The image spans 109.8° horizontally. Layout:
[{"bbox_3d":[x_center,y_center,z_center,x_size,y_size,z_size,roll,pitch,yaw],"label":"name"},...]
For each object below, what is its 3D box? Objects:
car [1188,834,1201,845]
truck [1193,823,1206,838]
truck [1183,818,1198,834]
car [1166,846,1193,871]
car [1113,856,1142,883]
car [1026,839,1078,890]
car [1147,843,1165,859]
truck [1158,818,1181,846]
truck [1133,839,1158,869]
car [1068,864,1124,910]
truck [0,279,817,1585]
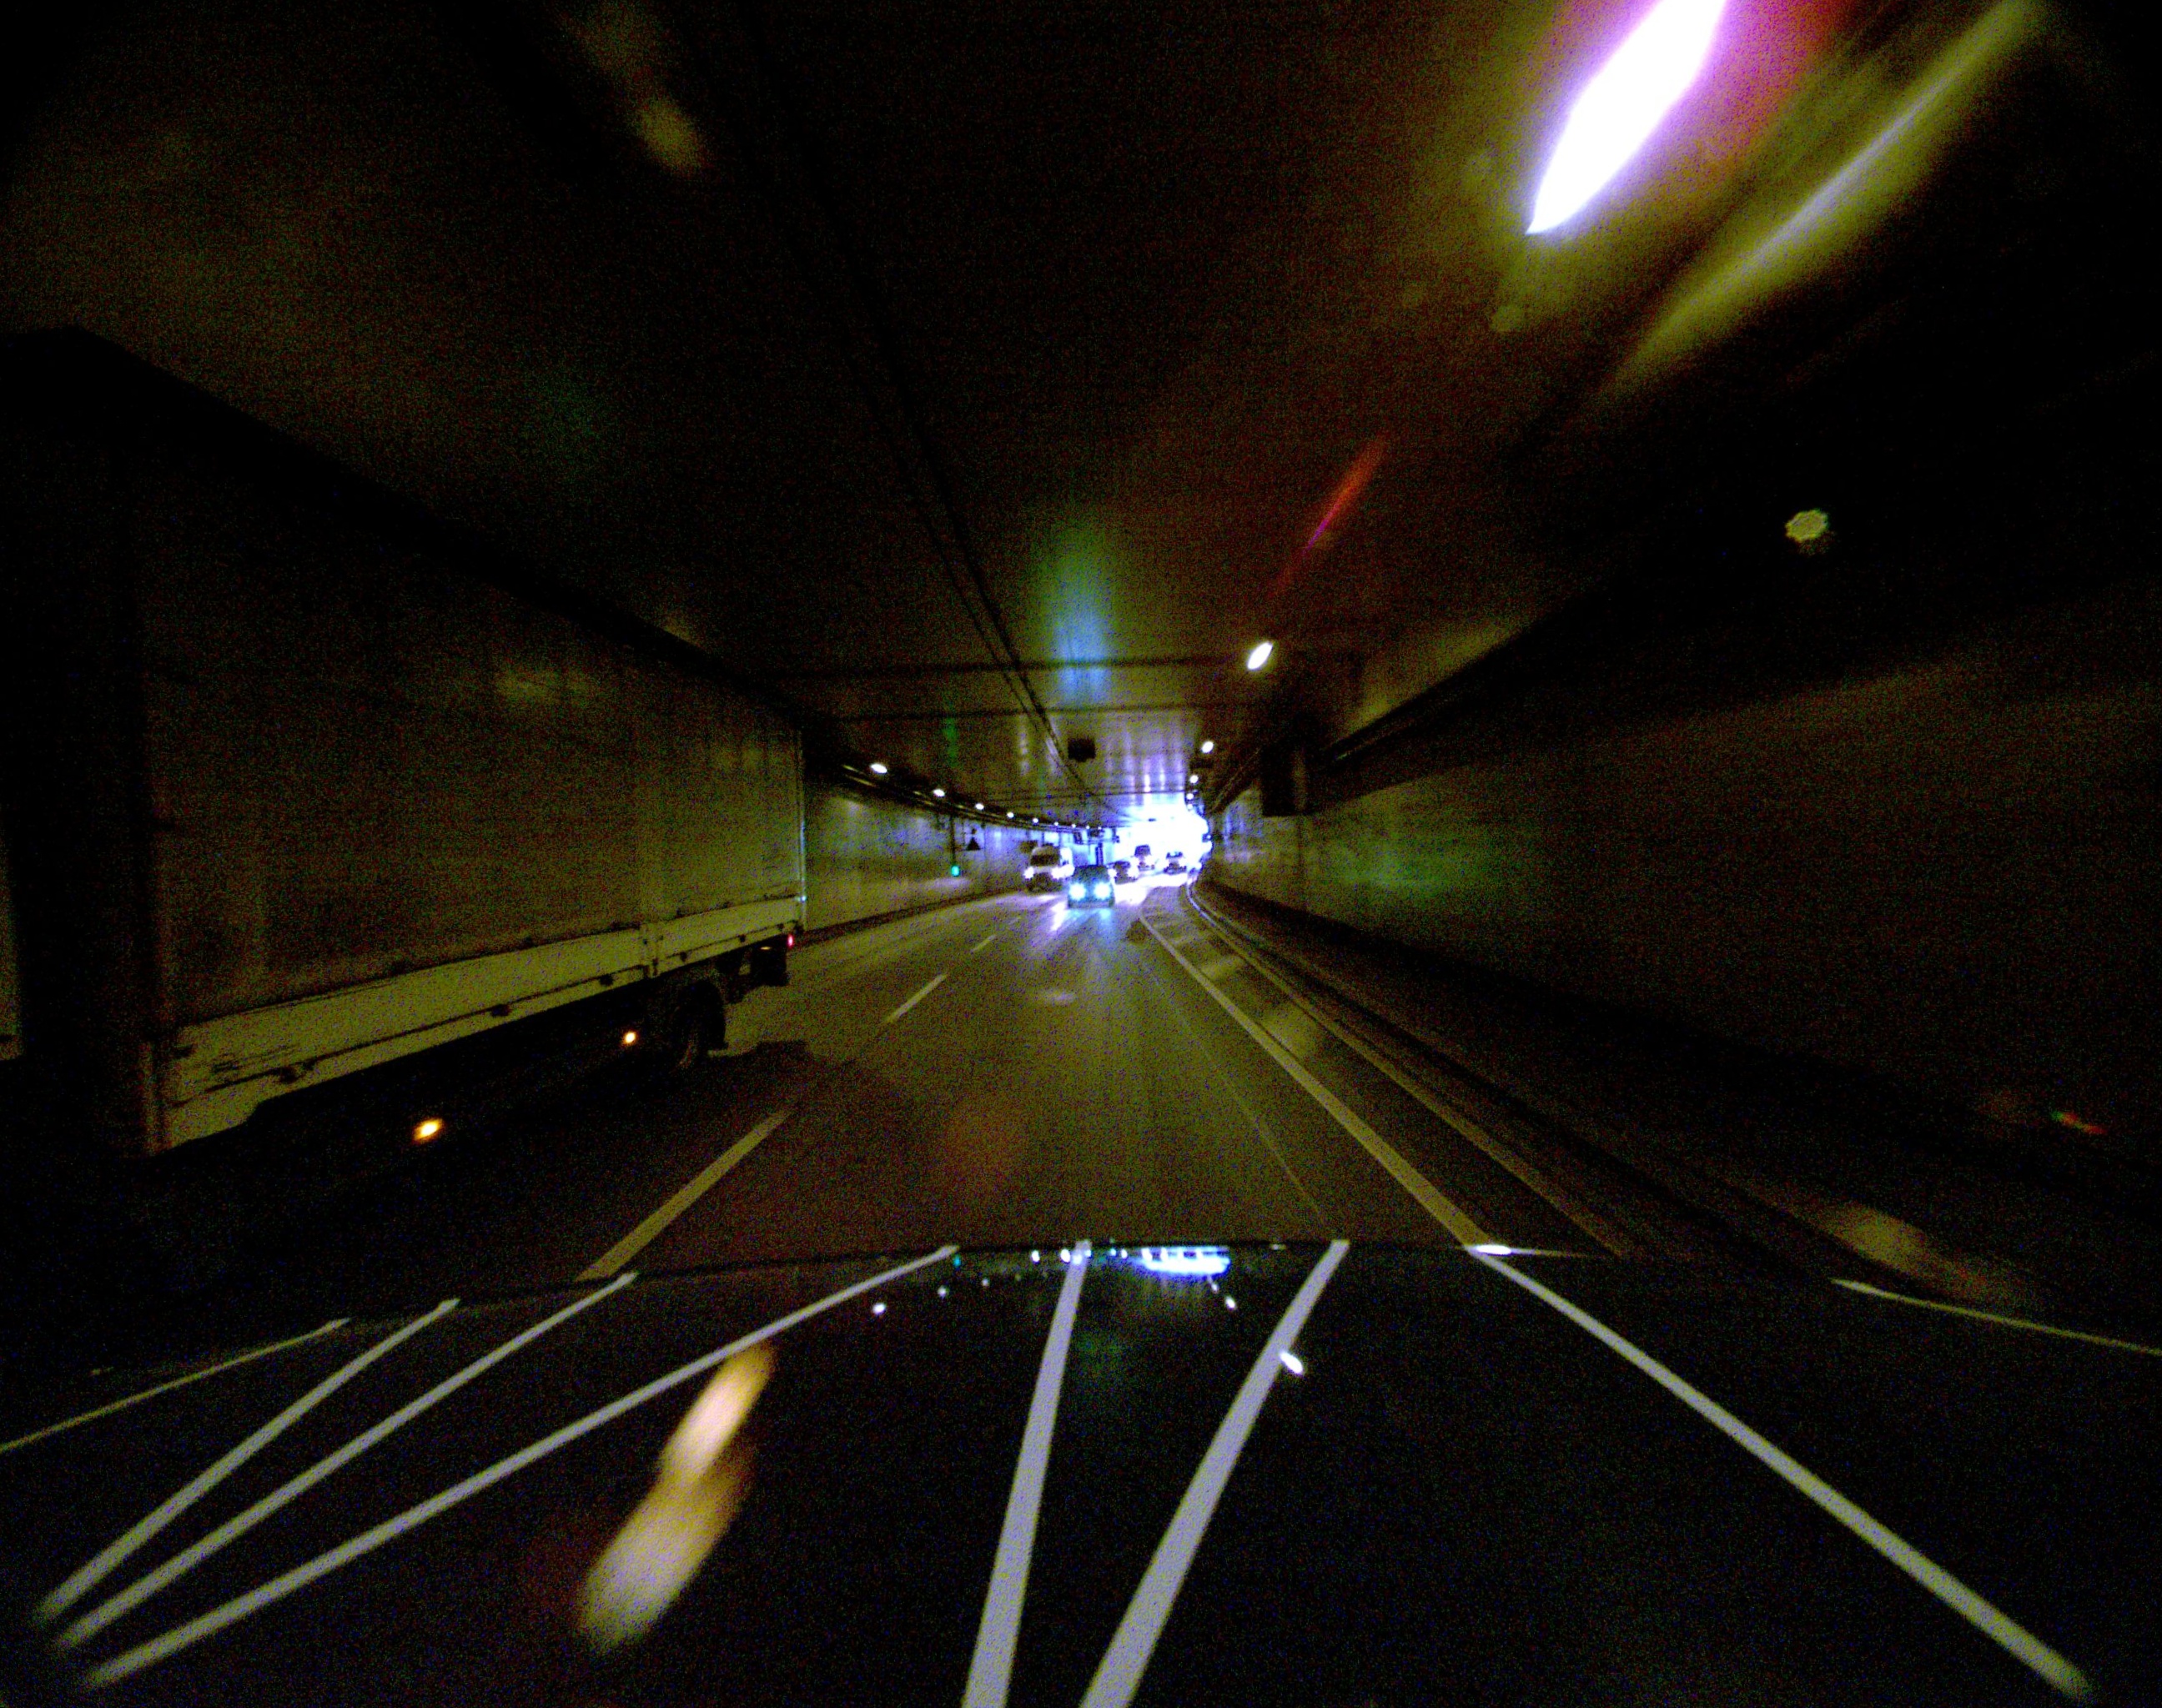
[{"bbox_3d":[20.027,-2.553,133.968,1.949,1.526,4.000,-5,4,12],"label":"car"},{"bbox_3d":[24.236,-4.814,155.228,2.137,2.714,5.673,-4,3,12],"label":"truck"},{"bbox_3d":[24.658,-6.321,170.899,2.492,3.370,6.378,-4,3,12],"label":"truck"},{"bbox_3d":[8.741,0.337,67.109,1.934,1.918,4.199,-4,1,12],"label":"car"},{"bbox_3d":[3.384,1.093,54.582,1.763,1.552,3.819,-5,2,7],"label":"car"},{"bbox_3d":[-1.645,0.594,46.382,2.106,2.830,6.864,-1,0,6],"label":"car"},{"bbox_3d":[9.581,-0.379,96.713,1.638,1.662,3.717,-4,3,12],"label":"car"},{"bbox_3d":[16.614,-4.187,142.441,2.884,4.448,10.457,-4,3,13],"label":"truck"},{"bbox_3d":[6.578,-0.052,76.723,2.073,2.526,6.023,-5,3,7],"label":"truck"},{"bbox_3d":[0.619,1.155,28.240,1.638,1.552,3.718,1,0,7],"label":"car"},{"bbox_3d":[-3.901,0.231,3.751,2.560,3.162,7.246,-2,-1,0],"label":"truck"}]
